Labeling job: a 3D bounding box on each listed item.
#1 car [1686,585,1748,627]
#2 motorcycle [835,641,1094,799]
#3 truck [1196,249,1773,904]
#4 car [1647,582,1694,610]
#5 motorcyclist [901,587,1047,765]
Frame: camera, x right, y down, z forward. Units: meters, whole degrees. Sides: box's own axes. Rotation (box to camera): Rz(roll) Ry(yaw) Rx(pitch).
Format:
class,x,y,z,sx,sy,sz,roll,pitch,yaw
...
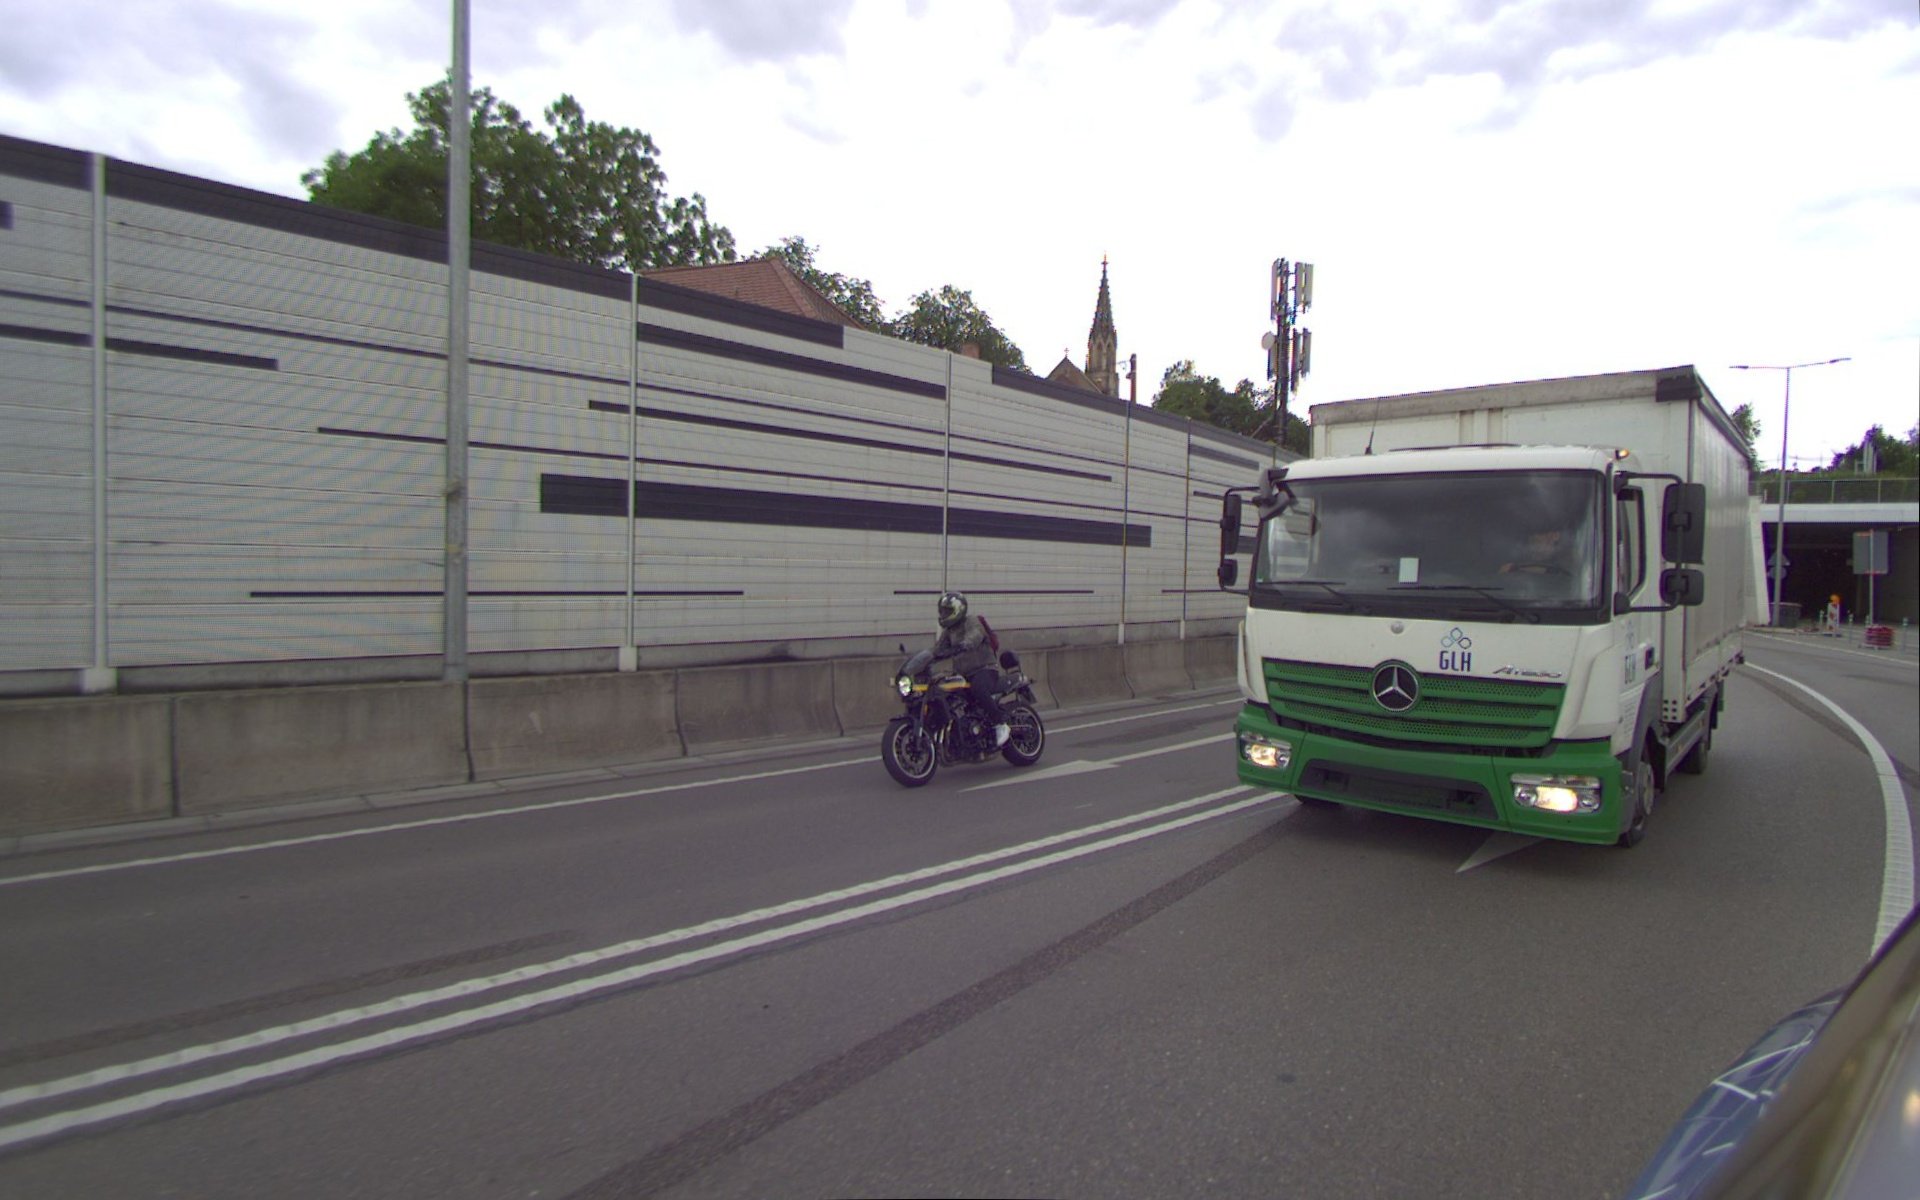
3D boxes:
class,x,y,z,sx,sy,sz,roll,pitch,yaw
car,29.991,0.194,40.172,1.711,1.482,3.952,3,3,34
motorcycle,0.124,0.999,9.205,0.744,1.097,2.622,2,2,44
truck,5.025,-0.213,8.697,2.628,3.279,7.305,3,3,41
car,39.097,-0.230,55.743,1.814,1.464,3.957,0,0,31
motorcyclist,0.125,0.640,9.217,0.913,1.495,0.951,1,1,45
